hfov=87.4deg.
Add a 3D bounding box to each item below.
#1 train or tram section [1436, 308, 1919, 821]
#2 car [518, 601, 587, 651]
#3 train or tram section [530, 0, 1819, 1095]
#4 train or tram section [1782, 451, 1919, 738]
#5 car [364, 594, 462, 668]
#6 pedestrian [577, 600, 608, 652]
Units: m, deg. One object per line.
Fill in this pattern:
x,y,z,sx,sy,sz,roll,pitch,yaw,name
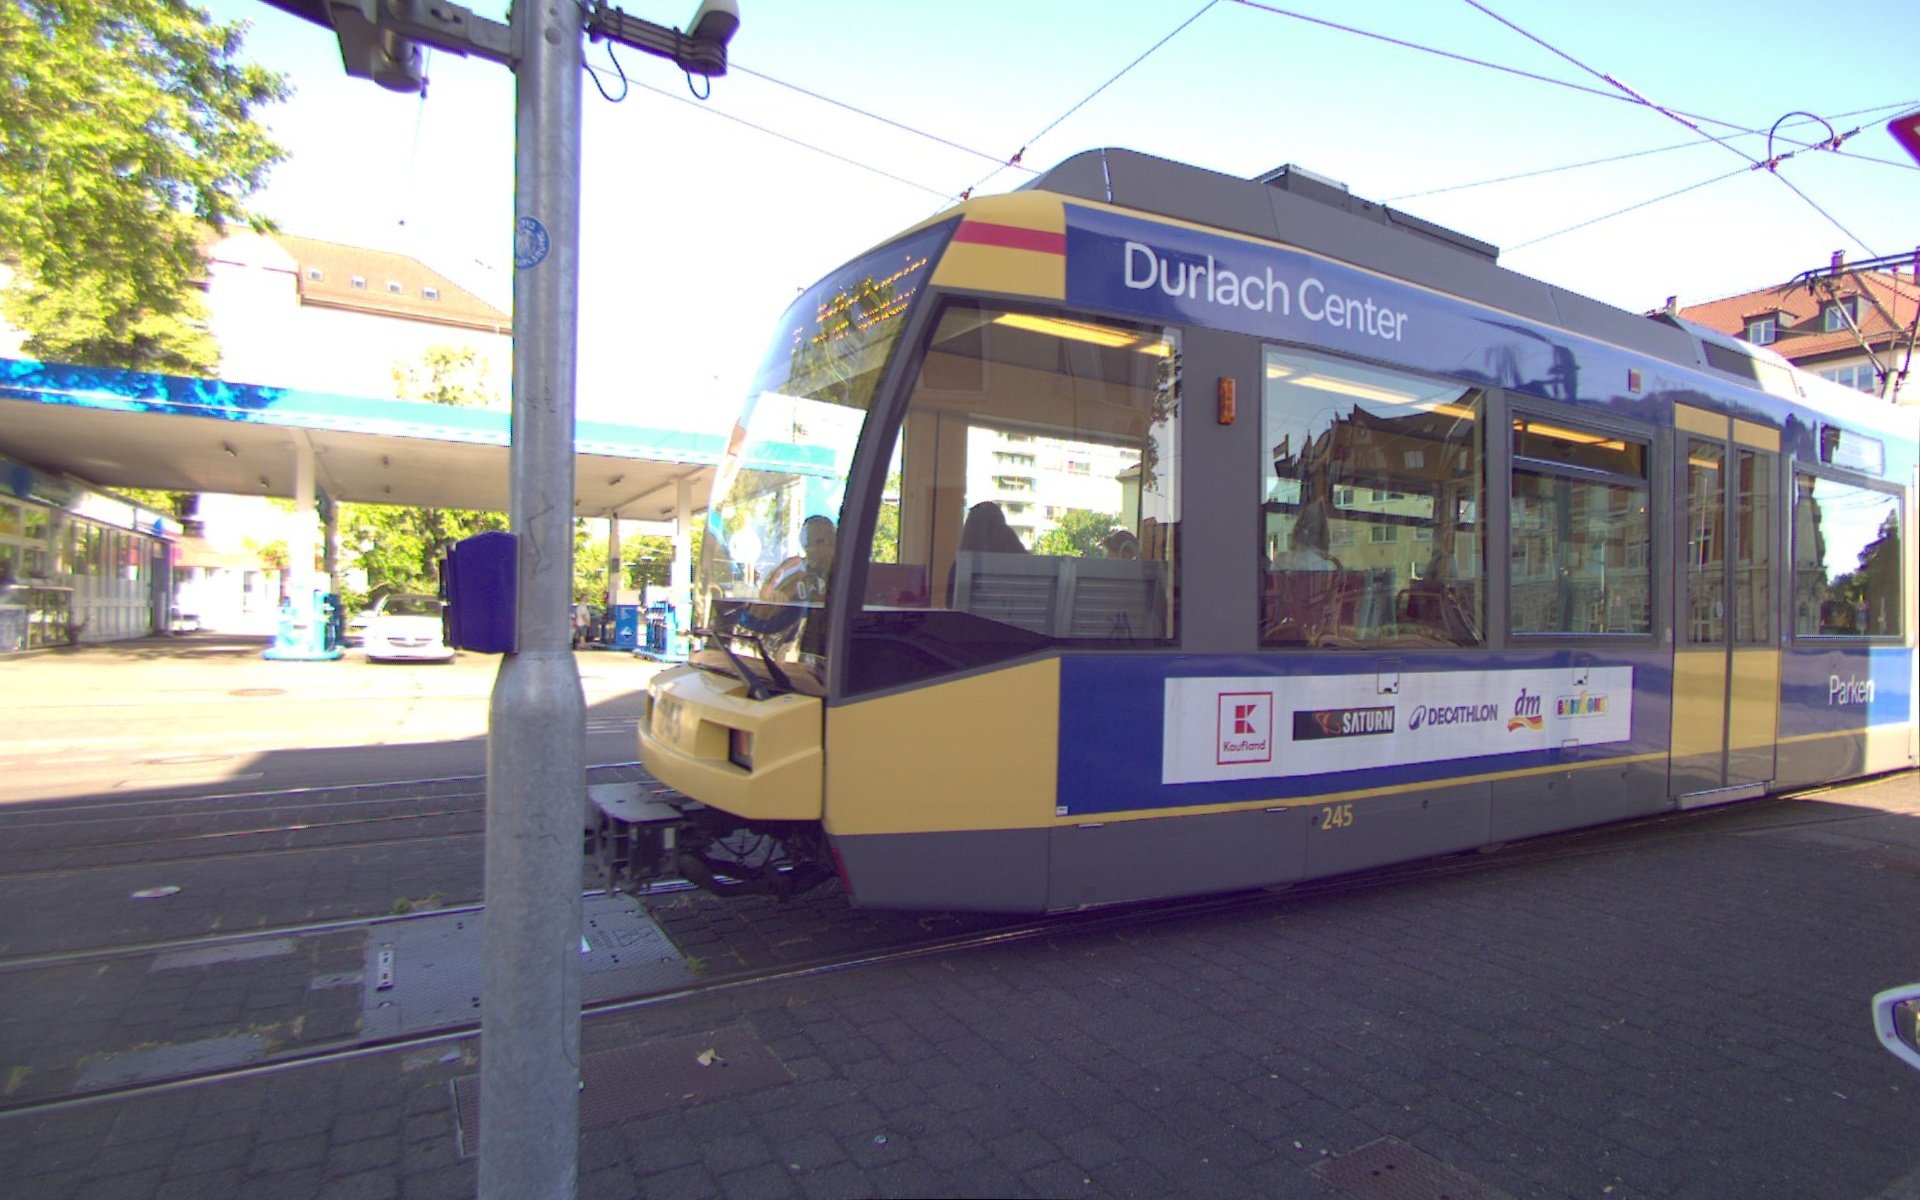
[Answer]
8.689,-0.161,10.381,8.368,3.546,2.799,1,-1,-32,train or tram section
-13.433,0.834,33.019,1.725,1.431,4.061,5,-2,-26,car
1.877,-0.345,6.044,7.874,3.546,2.799,1,-1,-32,train or tram section
15.993,0.044,16.753,2.741,3.546,11.960,0,-1,43,train or tram section
-12.252,0.656,22.461,1.760,1.483,3.968,1,-1,-30,car
-11.735,0.825,32.086,0.802,1.647,1.156,1,-1,-26,pedestrian
